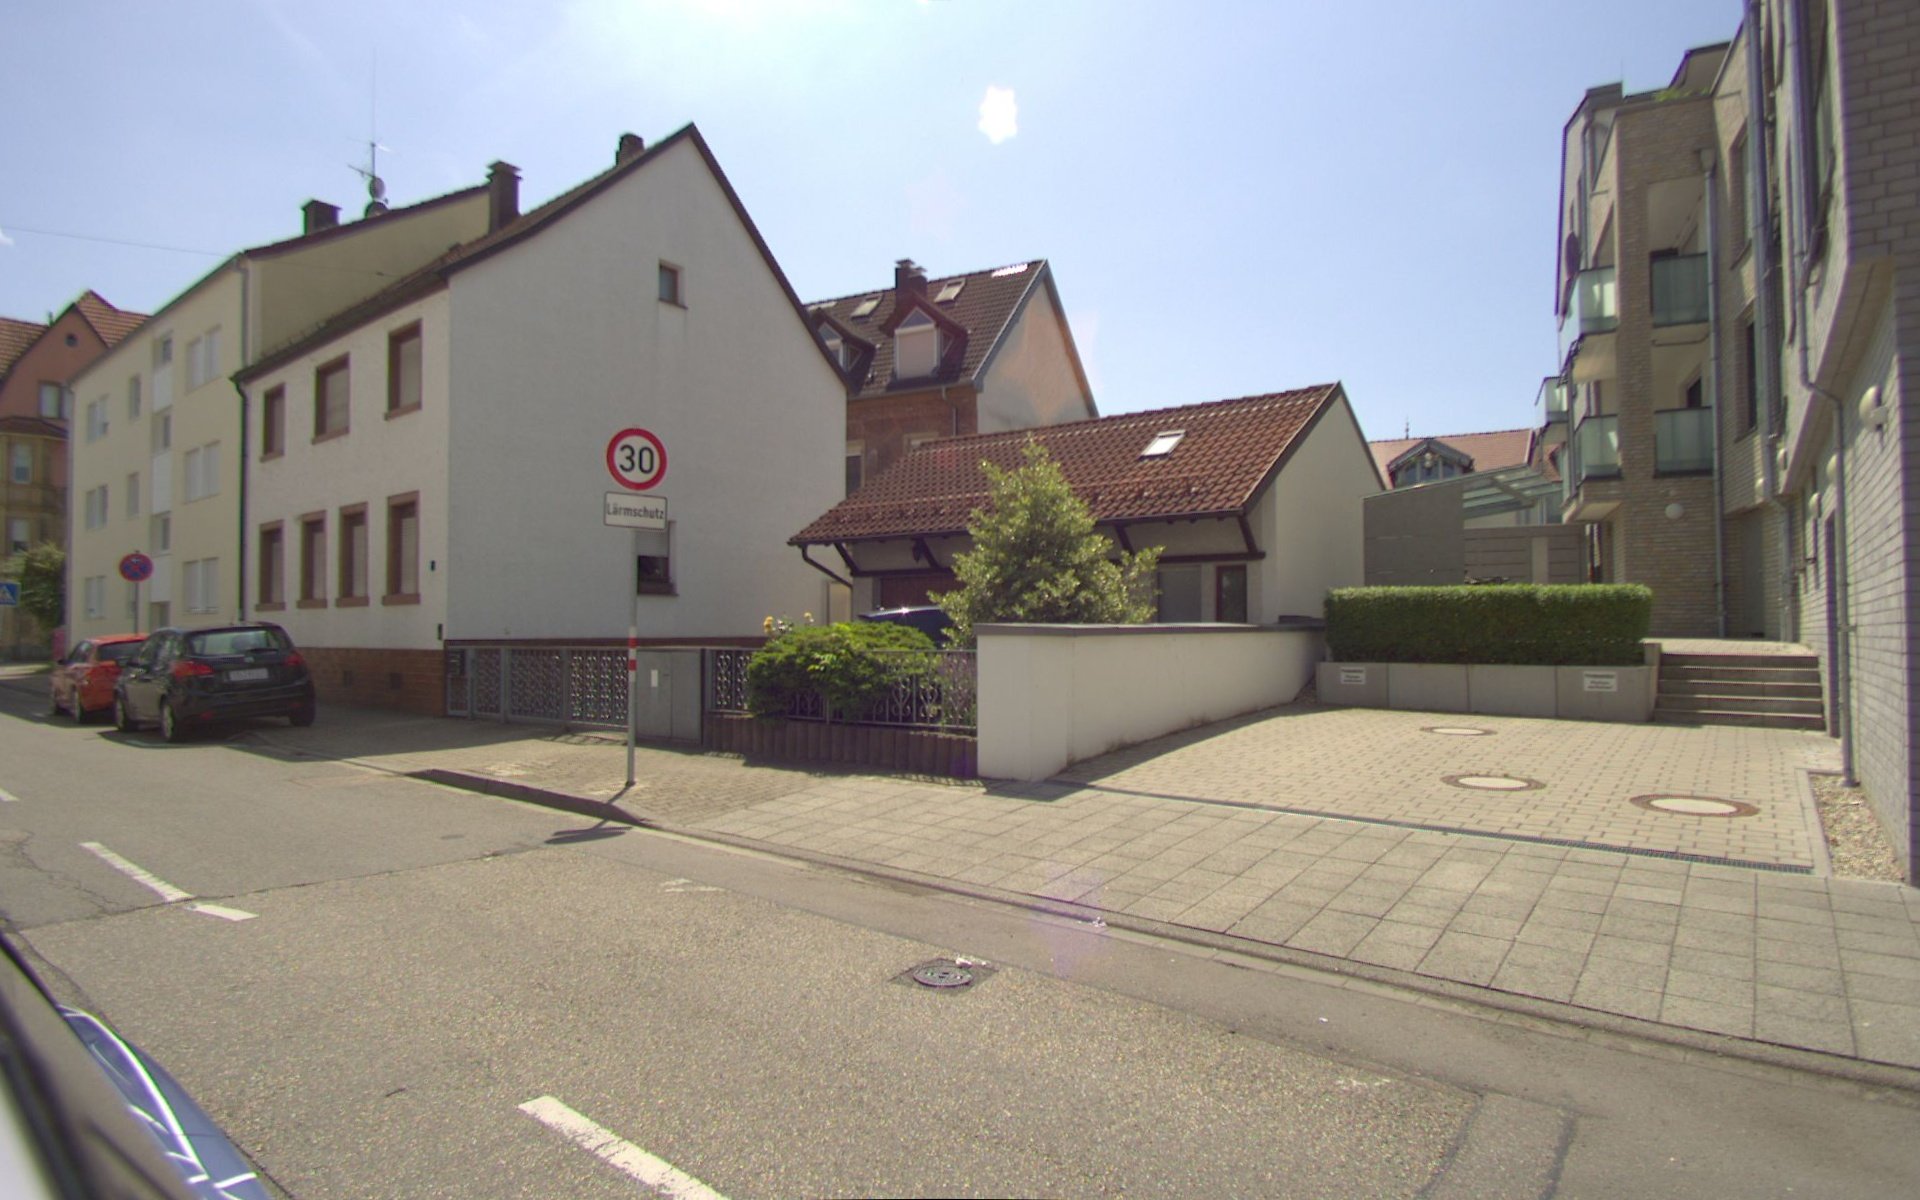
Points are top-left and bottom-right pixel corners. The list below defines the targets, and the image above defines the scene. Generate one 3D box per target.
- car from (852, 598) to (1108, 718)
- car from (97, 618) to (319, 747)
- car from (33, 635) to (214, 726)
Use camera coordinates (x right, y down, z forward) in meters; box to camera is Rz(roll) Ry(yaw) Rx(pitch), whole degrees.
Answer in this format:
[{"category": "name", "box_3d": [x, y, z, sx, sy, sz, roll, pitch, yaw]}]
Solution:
[{"category": "car", "box_3d": [0.223, 0.802, 14.949, 3.507, 1.551, 1.641, -1, 0, -8]}, {"category": "car", "box_3d": [-11.368, 1.137, 15.210, 3.940, 1.659, 1.777, -2, -1, 39]}, {"category": "car", "box_3d": [-15.133, 1.349, 18.238, 4.287, 1.427, 1.815, -2, -2, 41]}]
